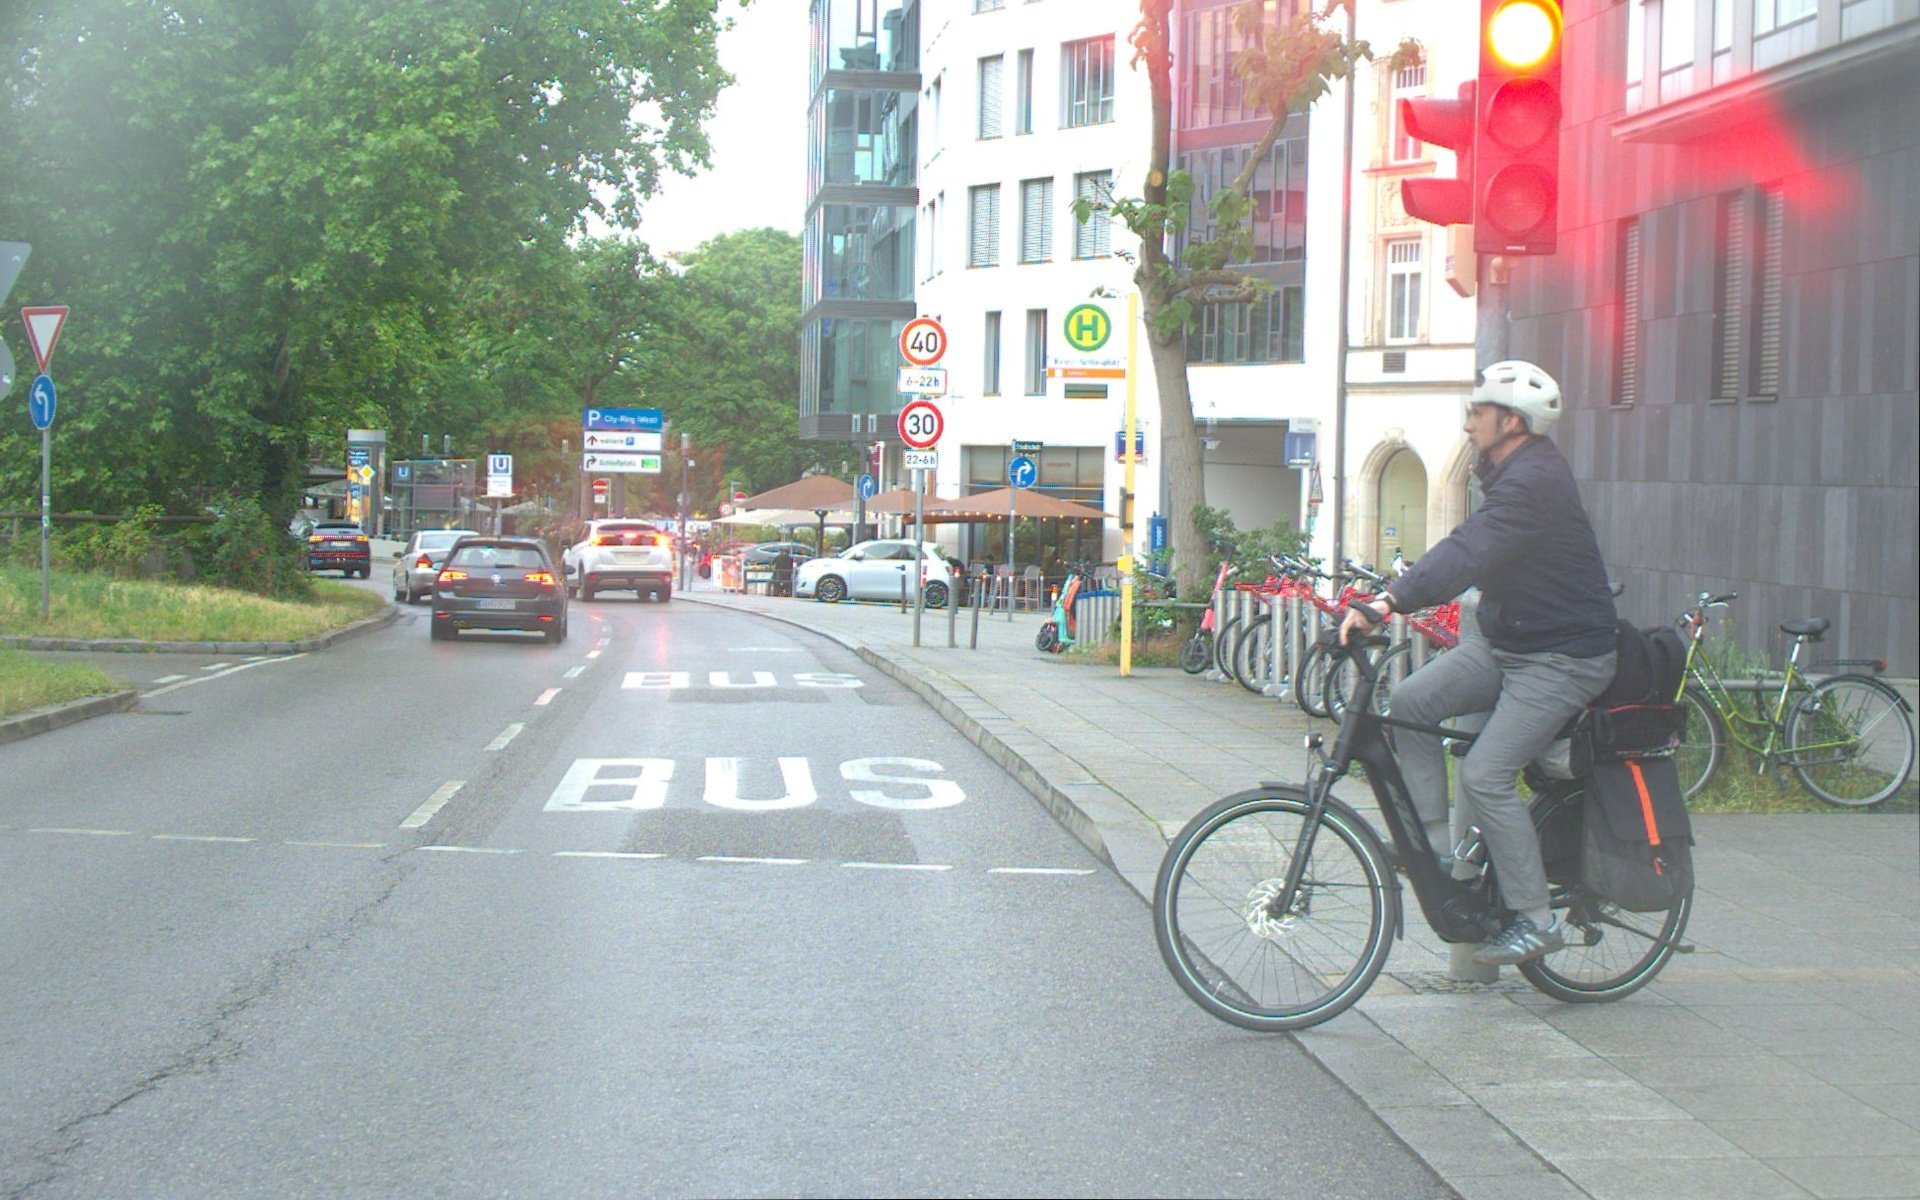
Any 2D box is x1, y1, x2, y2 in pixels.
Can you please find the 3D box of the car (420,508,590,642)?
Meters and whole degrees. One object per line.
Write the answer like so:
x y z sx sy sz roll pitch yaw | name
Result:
-6.230 -0.382 47.293 2.161 1.700 4.555 2 1 -7 | car

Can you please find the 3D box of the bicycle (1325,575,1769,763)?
3.527 0.409 20.739 2.535 1.083 0.677 1 1 -5 | bicycle

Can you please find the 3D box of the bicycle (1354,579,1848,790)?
3.471 0.453 18.710 2.535 1.083 0.677 1 1 -5 | bicycle

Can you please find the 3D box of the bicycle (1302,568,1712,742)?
3.549 0.352 22.404 2.535 1.083 0.677 1 1 -5 | bicycle

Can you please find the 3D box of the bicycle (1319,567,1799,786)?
3.384 0.429 19.513 2.535 1.083 0.677 3 1 -5 | bicycle

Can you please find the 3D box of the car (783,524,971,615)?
-1.888 -0.693 77.258 3.986 1.641 2.000 5 1 -4 | car

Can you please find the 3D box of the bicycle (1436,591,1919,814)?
3.717 0.508 17.234 2.535 1.053 0.677 1 1 -5 | bicycle

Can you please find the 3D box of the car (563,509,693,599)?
-6.762 -0.955 69.696 2.178 1.695 4.001 1 1 -11 | car

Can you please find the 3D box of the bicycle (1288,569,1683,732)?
3.543 0.337 23.270 2.535 1.056 0.677 1 1 -5 | bicycle

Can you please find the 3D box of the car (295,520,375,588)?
-16.145 -1.211 88.645 1.944 1.641 4.001 1 1 -11 | car

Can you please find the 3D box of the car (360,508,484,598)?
-10.617 -0.944 67.619 1.944 1.641 4.246 1 1 -15 | car

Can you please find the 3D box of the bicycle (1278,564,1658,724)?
3.561 0.304 24.179 2.535 1.083 0.677 1 1 -5 | bicycle

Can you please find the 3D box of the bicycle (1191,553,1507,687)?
3.253 0.162 28.833 2.535 1.083 0.677 1 1 -5 | bicycle

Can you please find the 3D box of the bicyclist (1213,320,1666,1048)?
1.441 0.235 10.373 1.081 2.076 0.763 0 1 -27 | bicyclist

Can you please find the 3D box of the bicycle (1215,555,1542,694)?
3.389 0.193 27.944 2.535 1.083 0.677 1 1 -5 | bicycle

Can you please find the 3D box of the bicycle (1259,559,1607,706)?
3.614 0.246 26.353 2.535 1.083 0.677 1 1 -5 | bicycle

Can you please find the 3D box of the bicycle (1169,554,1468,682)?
3.151 0.152 30.302 2.535 1.083 0.627 1 1 -5 | bicycle

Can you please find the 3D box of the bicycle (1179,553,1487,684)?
3.196 0.158 29.580 2.535 1.083 0.677 1 1 -5 | bicycle

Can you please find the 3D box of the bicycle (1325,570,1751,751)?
3.616 0.374 21.594 2.535 1.083 0.677 1 1 -5 | bicycle

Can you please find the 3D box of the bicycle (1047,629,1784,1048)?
1.386 0.670 10.353 2.125 1.141 0.763 0 1 -27 | bicycle

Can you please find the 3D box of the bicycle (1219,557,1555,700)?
3.363 0.223 27.192 2.535 1.083 0.677 1 1 -5 | bicycle

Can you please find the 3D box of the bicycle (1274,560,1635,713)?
3.638 0.267 25.375 2.535 1.083 0.677 1 1 -5 | bicycle
